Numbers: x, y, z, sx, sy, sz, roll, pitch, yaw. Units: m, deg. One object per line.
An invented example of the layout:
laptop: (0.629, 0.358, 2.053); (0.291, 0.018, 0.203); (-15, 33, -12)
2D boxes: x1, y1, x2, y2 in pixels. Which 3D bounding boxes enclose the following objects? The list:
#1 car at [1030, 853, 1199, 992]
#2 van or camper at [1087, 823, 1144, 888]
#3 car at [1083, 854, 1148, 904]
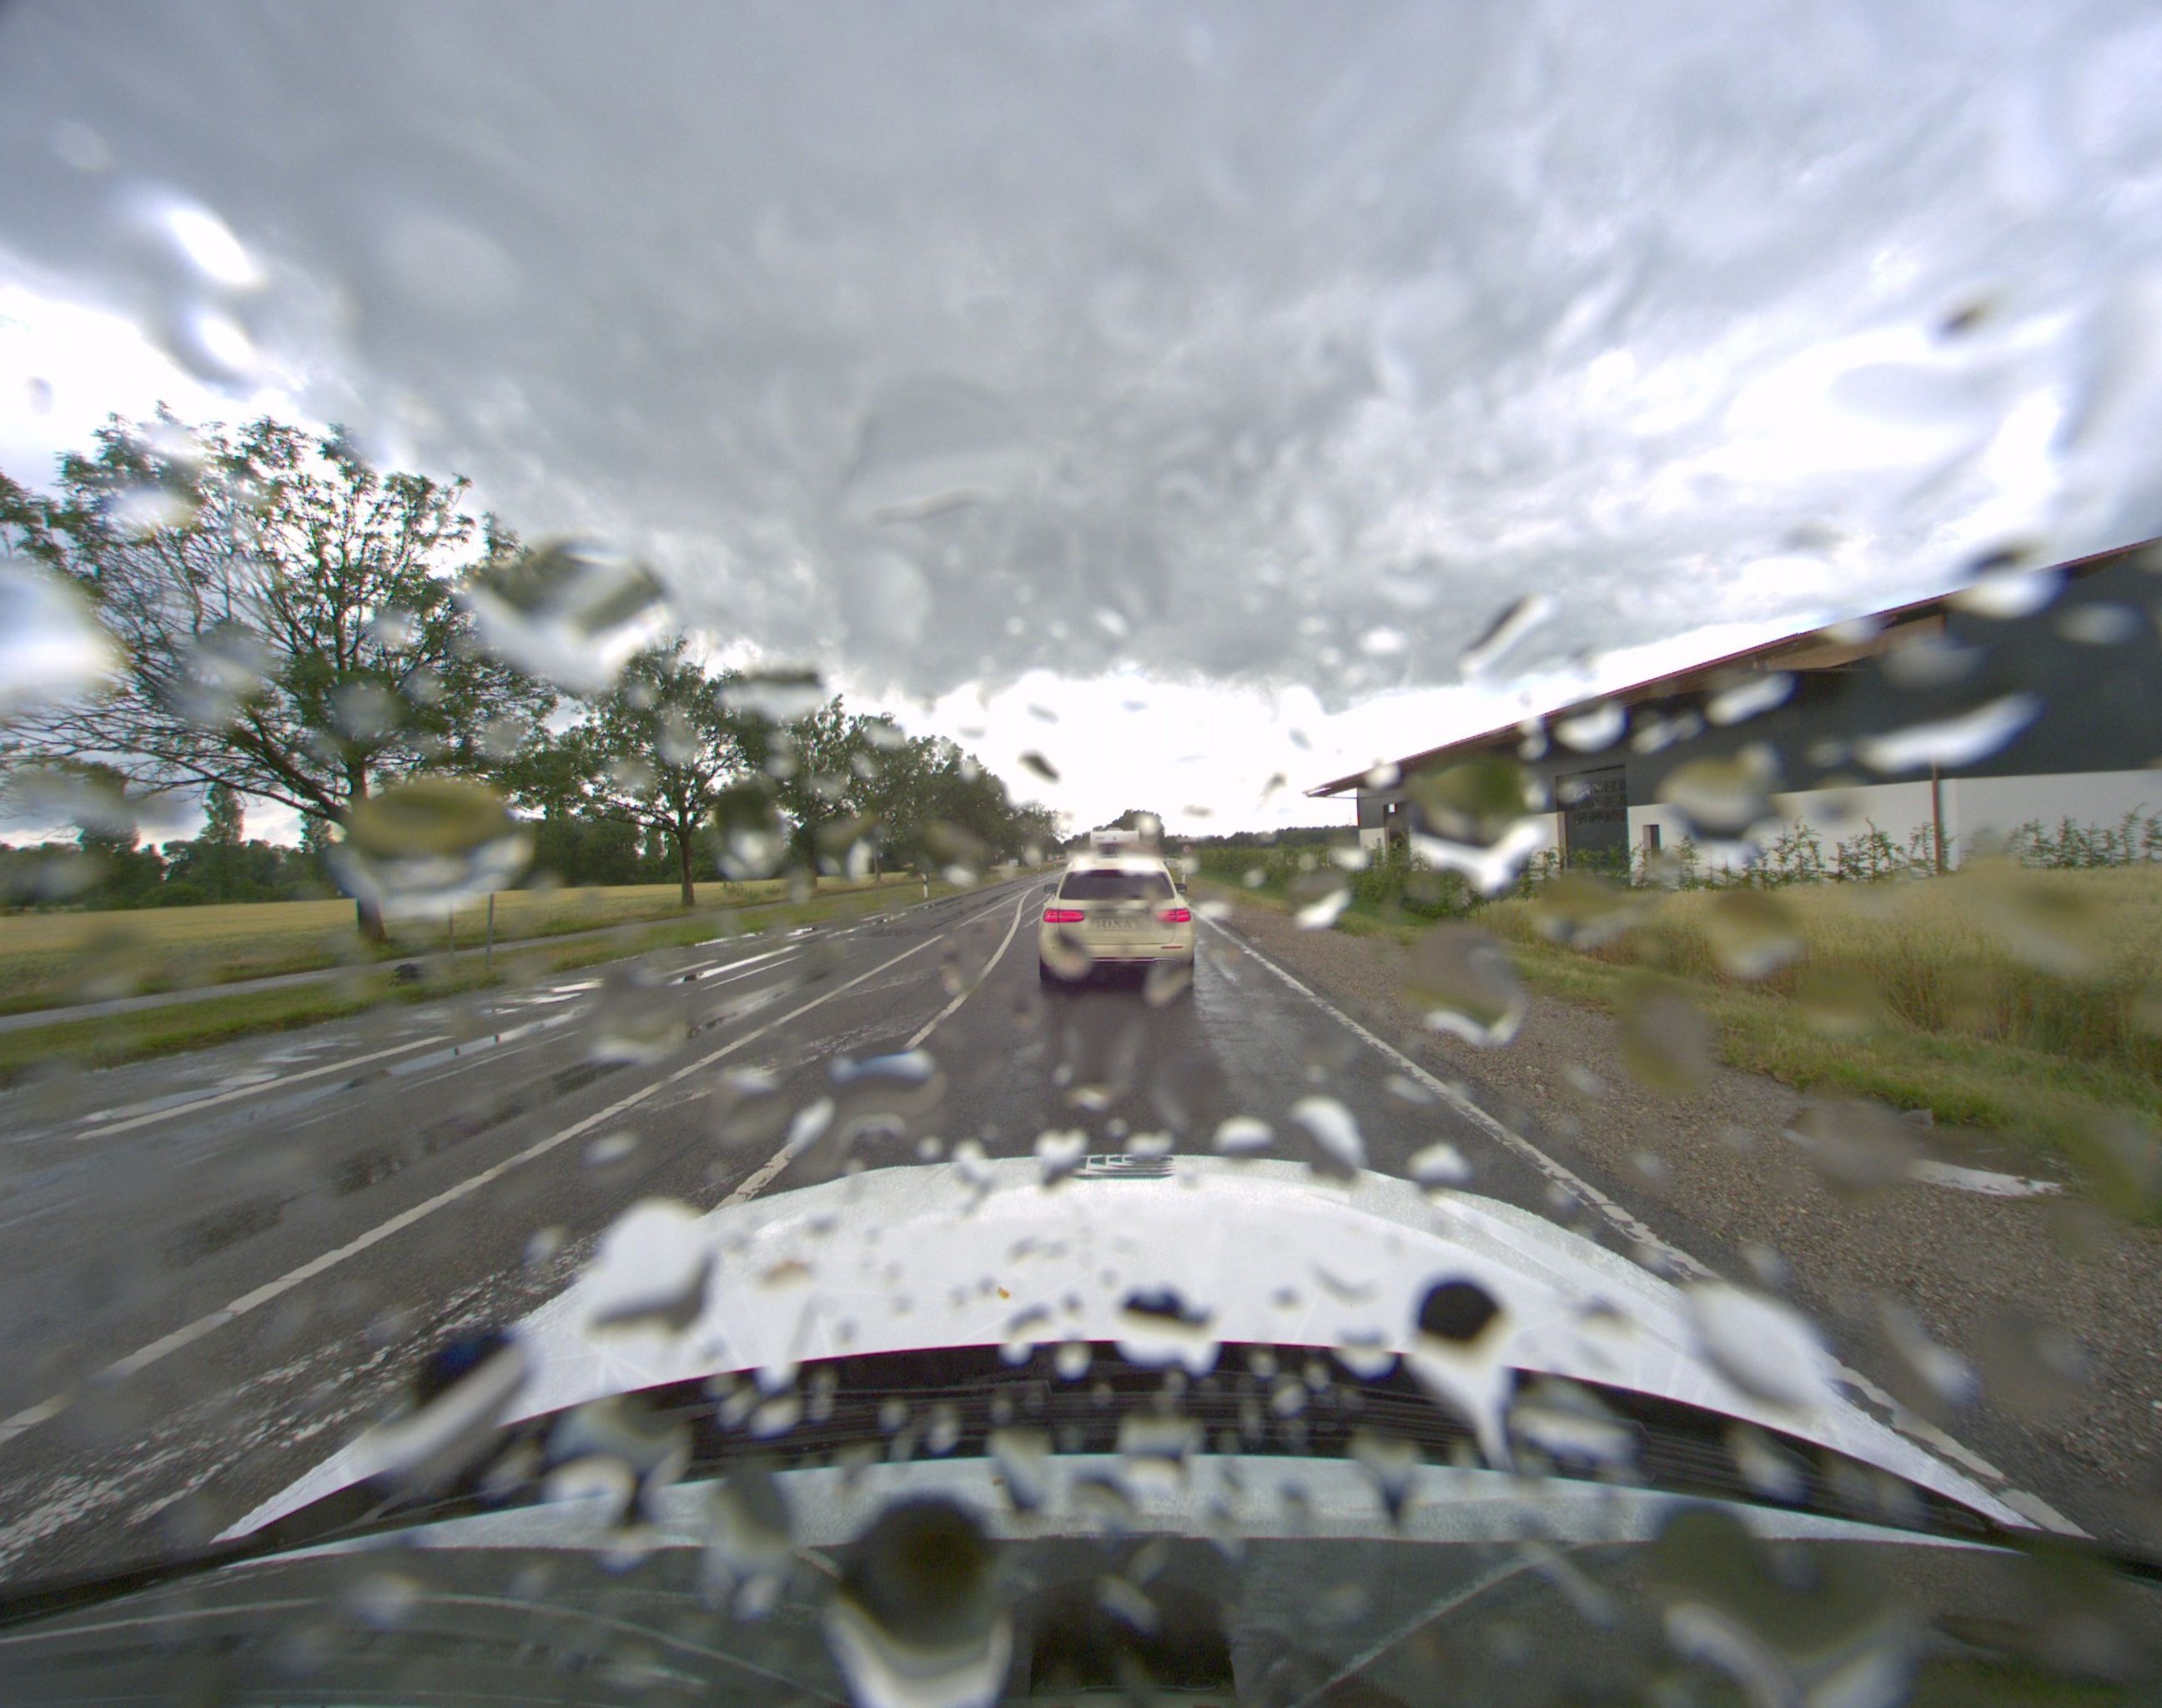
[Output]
car: (0.446, 0.732, 10.723); (1.790, 1.464, 4.033); (-1, 0, 2)
van or camper: (1.723, 0.095, 40.047); (2.487, 2.831, 5.938); (-3, 0, 3)
car: (1.086, 0.750, 26.005); (1.887, 1.429, 3.930); (-1, 0, 2)
